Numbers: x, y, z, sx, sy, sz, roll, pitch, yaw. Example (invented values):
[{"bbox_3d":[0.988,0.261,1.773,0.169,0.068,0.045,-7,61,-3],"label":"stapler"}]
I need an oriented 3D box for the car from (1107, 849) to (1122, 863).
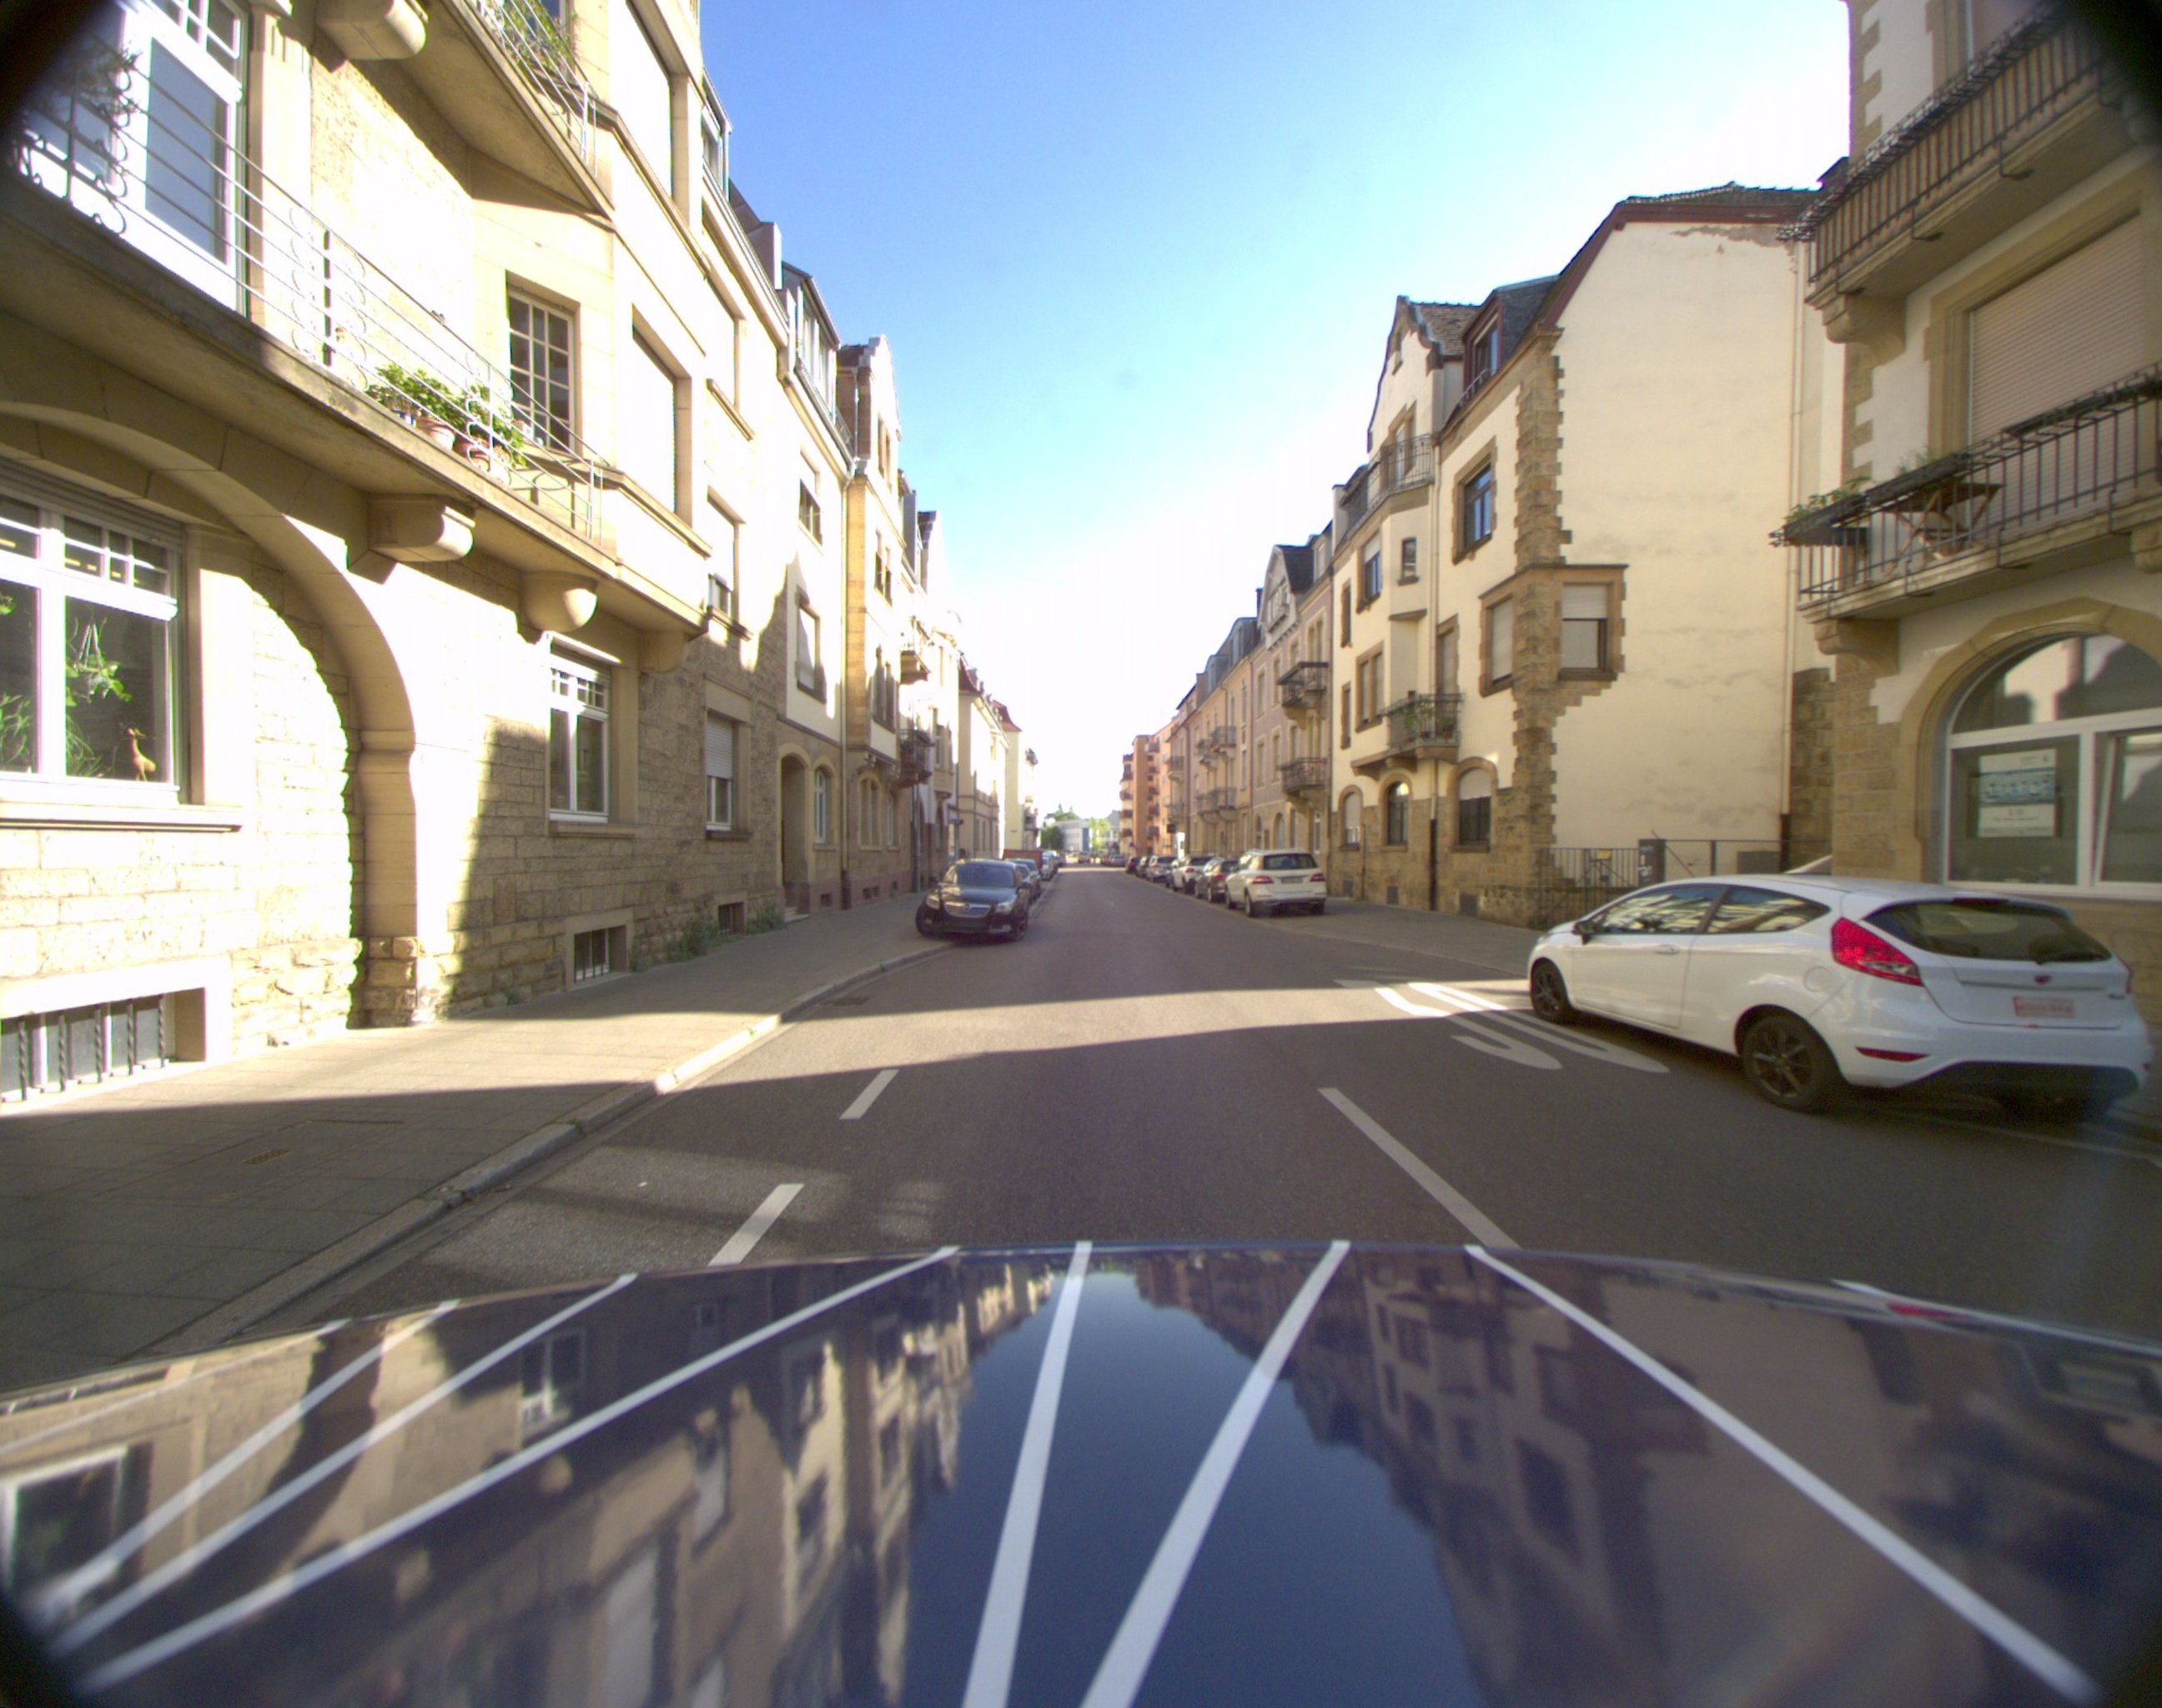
[{"bbox_3d":[4.494,0.240,102.041,1.822,1.867,4.111,0,0,0],"label":"car"}]

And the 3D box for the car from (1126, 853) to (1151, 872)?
[{"bbox_3d":[4.725,0.669,62.681,1.719,1.378,3.864,-3,0,0],"label":"car"}]

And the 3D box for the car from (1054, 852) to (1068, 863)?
[{"bbox_3d":[-2.650,0.398,99.704,1.708,1.417,3.721,0,0,-2],"label":"car"}]

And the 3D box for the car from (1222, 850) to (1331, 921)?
[{"bbox_3d":[5.213,0.753,20.934,1.896,1.712,4.726,-1,0,1],"label":"car"}]

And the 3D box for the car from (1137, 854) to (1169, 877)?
[{"bbox_3d":[4.894,0.748,52.394,1.719,1.512,4.109,1,0,-1],"label":"car"}]

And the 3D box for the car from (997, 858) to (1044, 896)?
[{"bbox_3d":[-2.420,0.883,30.648,1.791,1.421,3.806,0,0,-4],"label":"car"}]

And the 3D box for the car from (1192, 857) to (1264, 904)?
[{"bbox_3d":[5.058,0.863,26.696,1.578,1.479,4.279,-2,0,-2],"label":"car"}]

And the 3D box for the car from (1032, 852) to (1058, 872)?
[{"bbox_3d":[-2.762,0.596,59.088,1.684,1.537,3.914,1,0,1],"label":"car"}]

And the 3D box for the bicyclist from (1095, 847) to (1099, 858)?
[{"bbox_3d":[2.361,-0.213,115.200,0.609,1.656,0.632,0,1,0],"label":"bicyclist"}]

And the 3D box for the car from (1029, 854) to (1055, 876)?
[{"bbox_3d":[-2.669,0.732,53.019,1.657,1.456,4.093,0,0,-1],"label":"car"}]

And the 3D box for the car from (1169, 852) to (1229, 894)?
[{"bbox_3d":[4.919,0.739,32.187,1.719,1.574,4.019,-3,0,-2],"label":"car"}]

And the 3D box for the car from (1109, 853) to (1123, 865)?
[{"bbox_3d":[4.400,0.581,96.301,1.678,1.414,3.285,1,0,0],"label":"car"}]

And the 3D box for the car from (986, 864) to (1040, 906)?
[{"bbox_3d":[-2.270,1.017,26.179,1.697,1.247,3.939,-1,0,-3],"label":"car"}]

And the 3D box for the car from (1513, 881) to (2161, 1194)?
[{"bbox_3d":[5.121,1.014,5.794,1.637,1.455,3.735,0,1,2],"label":"car"}]

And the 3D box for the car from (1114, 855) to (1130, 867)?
[{"bbox_3d":[4.873,0.789,91.137,1.678,1.414,3.500,0,0,0],"label":"car"}]

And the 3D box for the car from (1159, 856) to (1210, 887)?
[{"bbox_3d":[5.039,0.829,37.572,1.677,1.385,3.664,-3,0,-5],"label":"car"}]

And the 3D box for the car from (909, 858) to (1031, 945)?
[{"bbox_3d":[-2.071,0.835,15.315,1.870,1.453,4.338,0,0,-1],"label":"car"}]

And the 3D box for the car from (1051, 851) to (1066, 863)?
[{"bbox_3d":[-2.756,0.328,93.354,1.708,1.417,3.721,1,1,-1],"label":"car"}]

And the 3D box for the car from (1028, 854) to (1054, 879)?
[{"bbox_3d":[-2.471,0.741,47.633,1.590,1.456,3.711,0,0,-2],"label":"car"}]

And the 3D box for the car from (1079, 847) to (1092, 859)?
[{"bbox_3d":[0.691,-0.114,123.329,1.868,1.926,4.598,0,0,-3],"label":"car"}]

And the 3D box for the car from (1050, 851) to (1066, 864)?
[{"bbox_3d":[-2.613,0.374,87.891,1.708,1.417,3.721,1,1,-1],"label":"car"}]

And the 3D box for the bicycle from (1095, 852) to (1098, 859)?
[{"bbox_3d":[2.346,0.276,115.220,0.541,1.070,1.800,0,0,1],"label":"bicycle"}]

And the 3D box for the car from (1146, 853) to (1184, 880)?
[{"bbox_3d":[5.001,0.710,45.702,1.719,1.529,3.722,-1,0,-2],"label":"car"}]

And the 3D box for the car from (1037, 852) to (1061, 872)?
[{"bbox_3d":[-2.644,0.632,63.522,1.791,1.655,4.434,0,0,1],"label":"car"}]

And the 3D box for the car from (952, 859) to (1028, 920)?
[{"bbox_3d":[-2.381,0.900,20.861,1.655,1.434,4.257,1,0,-1],"label":"car"}]

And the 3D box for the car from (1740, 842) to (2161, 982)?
[{"bbox_3d":[11.834,0.718,10.385,3.978,1.718,1.909,0,0,0],"label":"car"}]

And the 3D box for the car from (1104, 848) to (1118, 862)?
[{"bbox_3d":[4.233,0.106,107.850,1.822,1.867,4.111,0,0,0],"label":"car"}]
